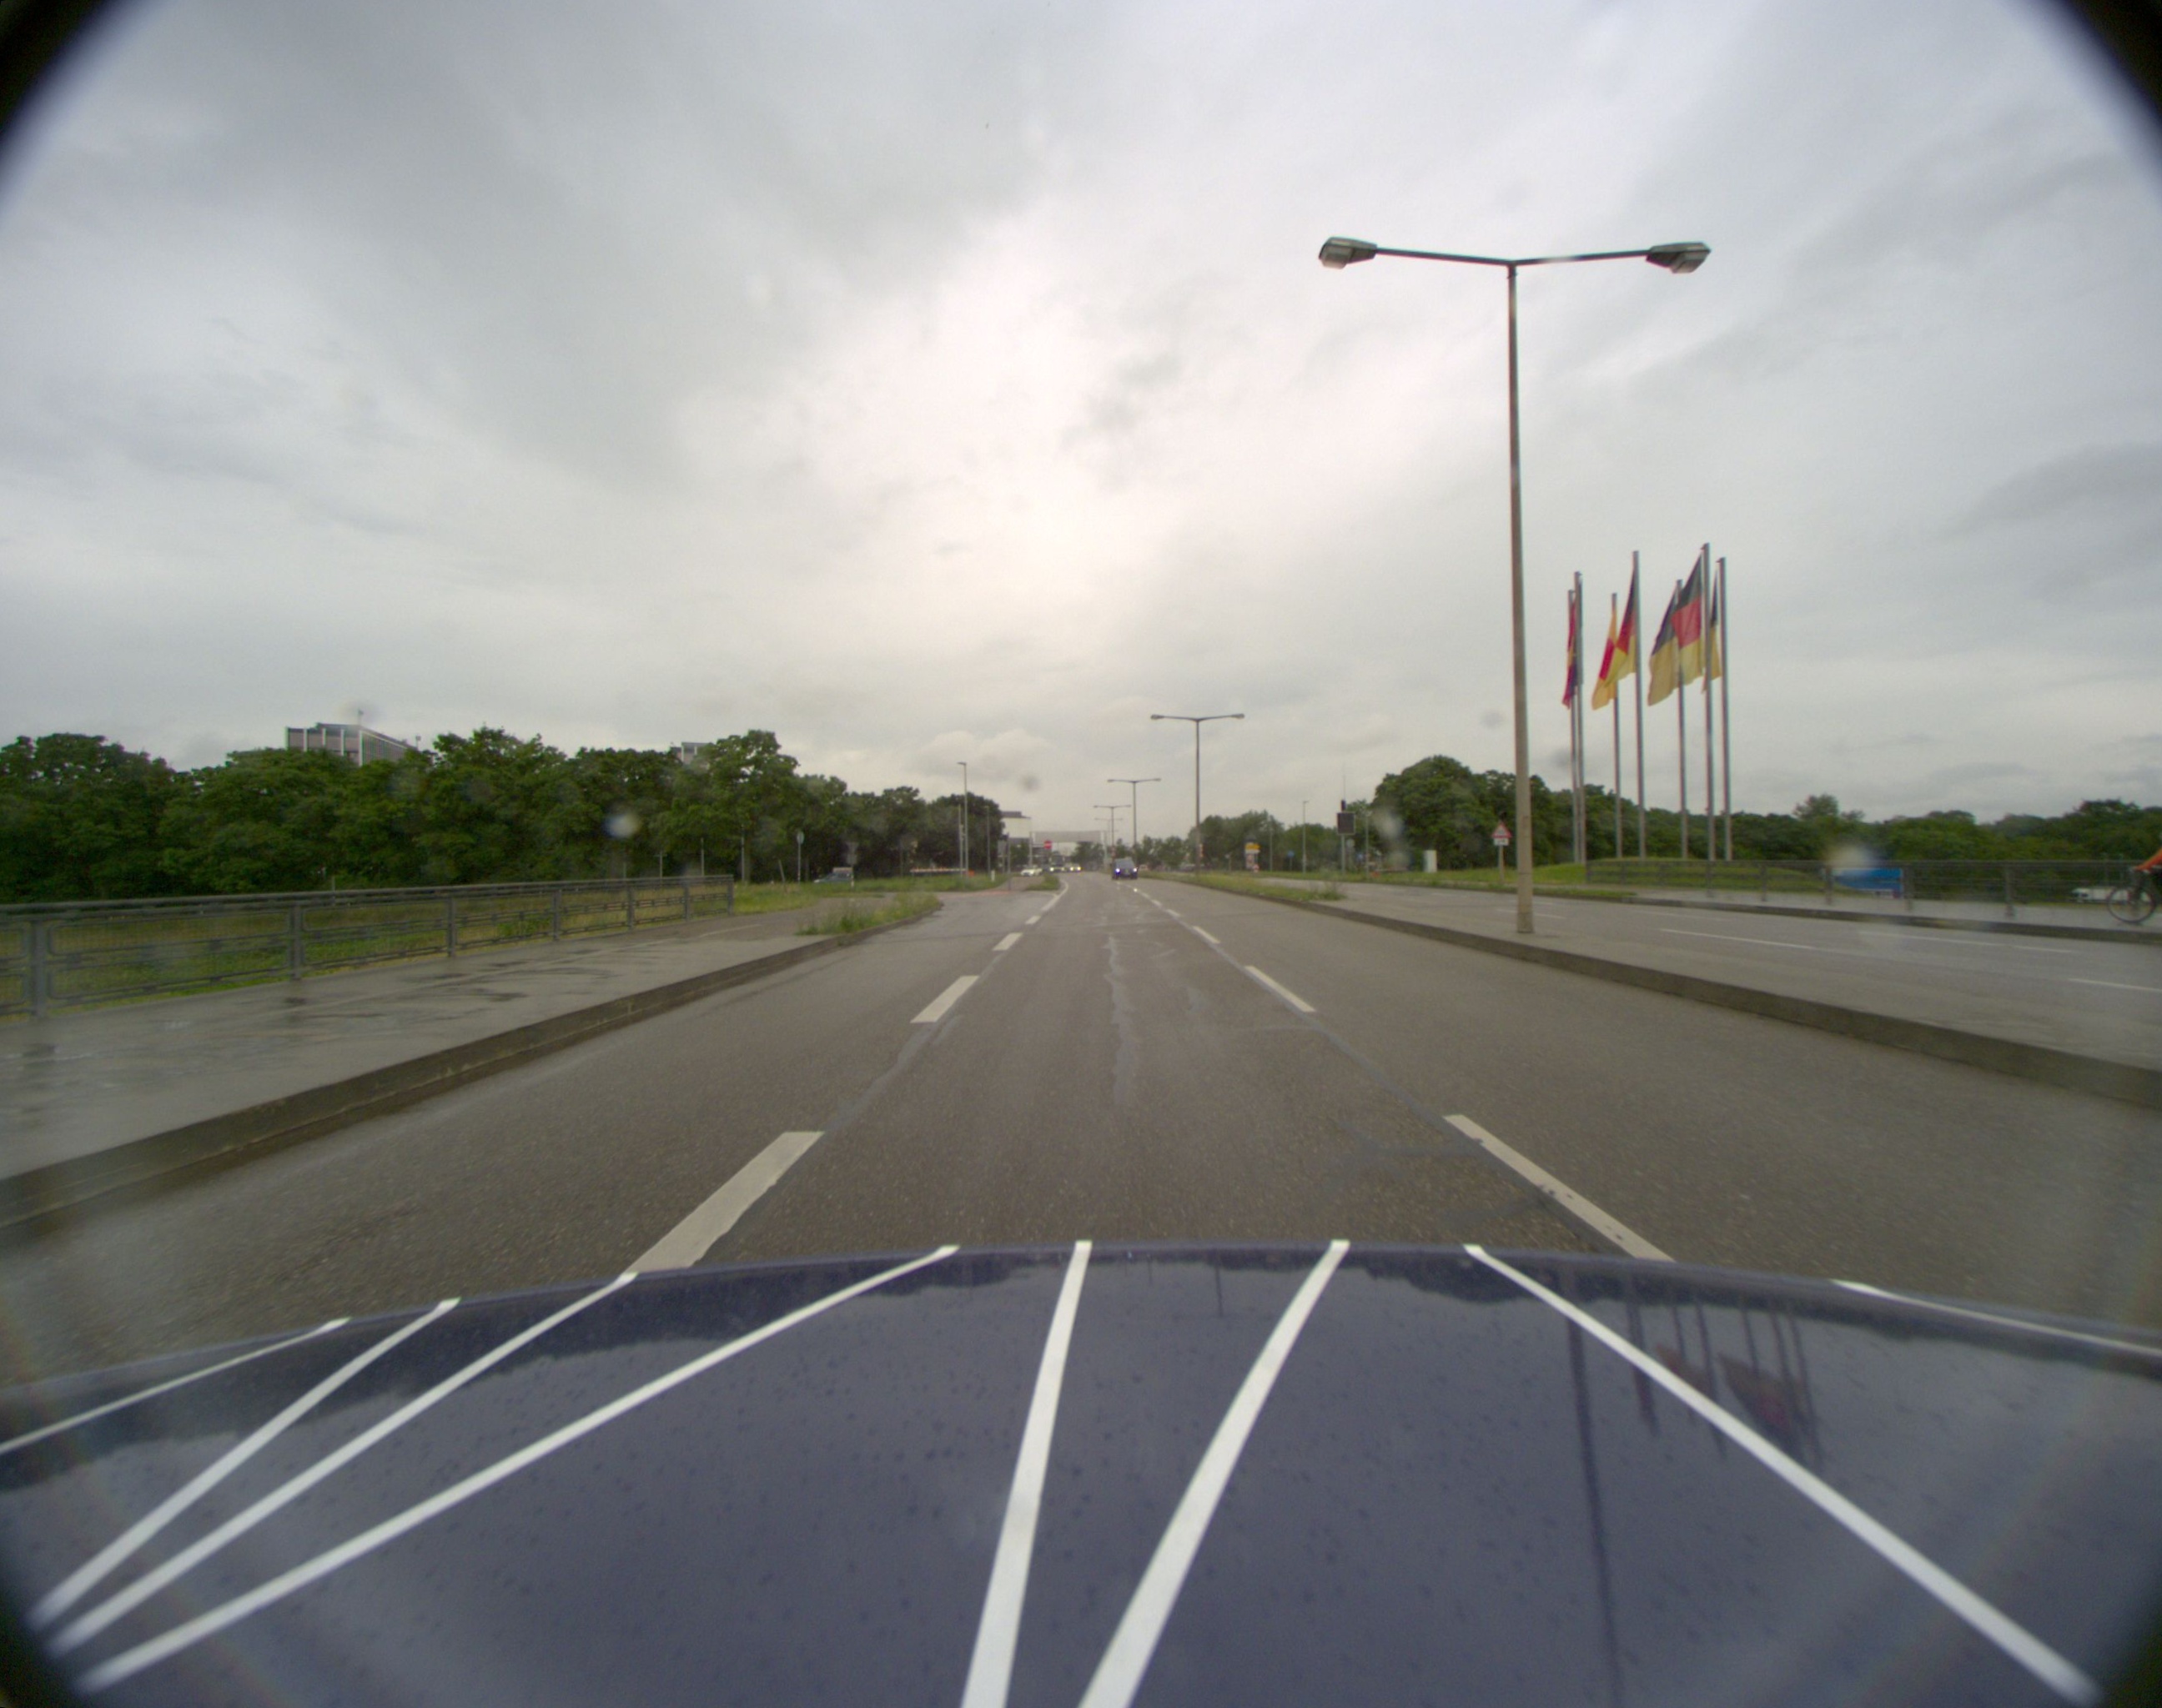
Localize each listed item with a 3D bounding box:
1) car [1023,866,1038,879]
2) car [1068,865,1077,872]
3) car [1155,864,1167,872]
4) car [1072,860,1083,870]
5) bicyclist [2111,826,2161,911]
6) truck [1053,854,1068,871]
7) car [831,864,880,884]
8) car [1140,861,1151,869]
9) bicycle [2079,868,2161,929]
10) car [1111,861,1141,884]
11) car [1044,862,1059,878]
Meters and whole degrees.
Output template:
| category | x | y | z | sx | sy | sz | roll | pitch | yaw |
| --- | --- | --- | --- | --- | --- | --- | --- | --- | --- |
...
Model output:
| category | x | y | z | sx | sy | sz | roll | pitch | yaw |
| --- | --- | --- | --- | --- | --- | --- | --- | --- | --- |
| car | -7.037 | 2.591 | 106.417 | 1.841 | 1.739 | 4.000 | -2 | 0 | -1 |
| car | -2.149 | 3.484 | 185.934 | 1.999 | 1.701 | 3.999 | -2 | 0 | -1 |
| car | 17.595 | 3.072 | 166.681 | 1.851 | 1.740 | 4.030 | -2 | 0 | -3 |
| car | -0.746 | 2.049 | 143.726 | 1.999 | 1.701 | 3.999 | -2 | 0 | -1 |
| bicyclist | 19.450 | 0.246 | 13.599 | 0.621 | 1.491 | 1.003 | -3 | 1 | 1 |
| truck | -3.976 | 1.730 | 151.418 | 2.860 | 3.196 | 8.096 | -2 | 0 | -1 |
| car | -24.111 | 2.100 | 81.188 | 4.821 | 1.740 | 1.848 | -4 | 1 | -21 |
| car | 12.812 | 2.171 | 151.244 | 1.850 | 1.612 | 4.031 | -2 | 0 | 0 |
| bicycle | 19.483 | 0.808 | 13.604 | 0.611 | 1.027 | 2.001 | -3 | 0 | 1 |
| car | 3.758 | 1.529 | 63.865 | 1.851 | 1.740 | 4.816 | -5 | 0 | -3 |
| car | -4.525 | 2.451 | 117.849 | 2.252 | 2.248 | 5.170 | -2 | 0 | -1 |
